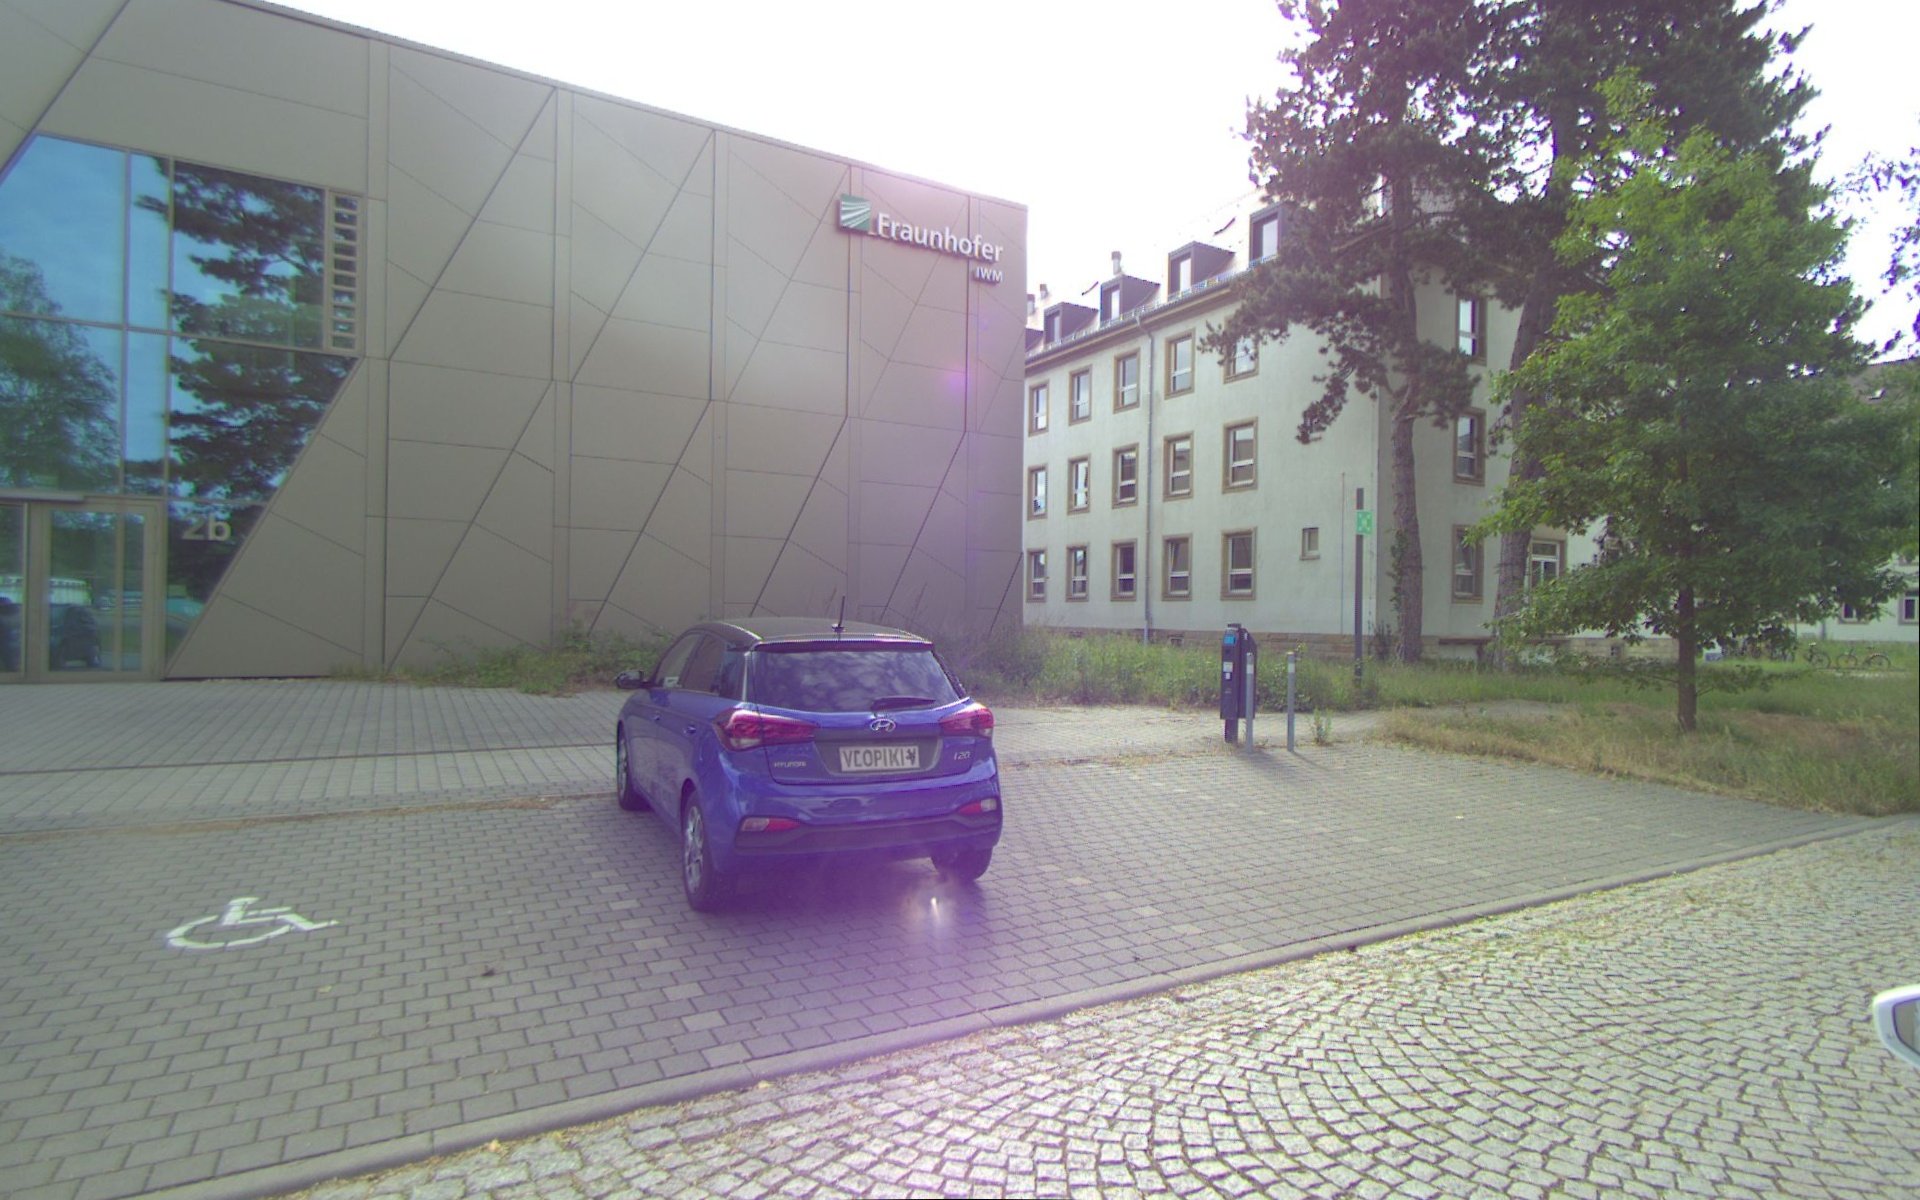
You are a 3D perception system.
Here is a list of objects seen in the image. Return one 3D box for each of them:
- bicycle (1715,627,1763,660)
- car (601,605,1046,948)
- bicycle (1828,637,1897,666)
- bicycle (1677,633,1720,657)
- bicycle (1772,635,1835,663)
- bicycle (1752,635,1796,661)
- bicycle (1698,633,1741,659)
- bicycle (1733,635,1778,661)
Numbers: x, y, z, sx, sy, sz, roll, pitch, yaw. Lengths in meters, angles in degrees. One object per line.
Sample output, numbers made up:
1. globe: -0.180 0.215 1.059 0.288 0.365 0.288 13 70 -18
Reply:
1. bicycle: 34.509 1.926 44.466 2.679 1.404 0.732 1 -1 -30
2. car: -1.196 0.841 6.715 1.828 1.498 3.752 1 0 -27
3. bicycle: 35.533 2.007 39.563 0.821 1.090 1.849 1 -1 -27
4. bicycle: 33.484 2.033 45.536 2.246 1.090 0.732 1 -1 -30
5. bicycle: 34.591 2.008 41.192 0.729 1.090 1.849 1 -1 -27
6. bicycle: 34.941 2.055 43.117 2.246 1.090 0.732 1 -1 -30
7. bicycle: 34.215 2.067 45.220 2.246 1.090 0.732 1 -1 -30
8. bicycle: 34.563 2.064 43.637 2.246 1.090 0.732 1 -1 -30
